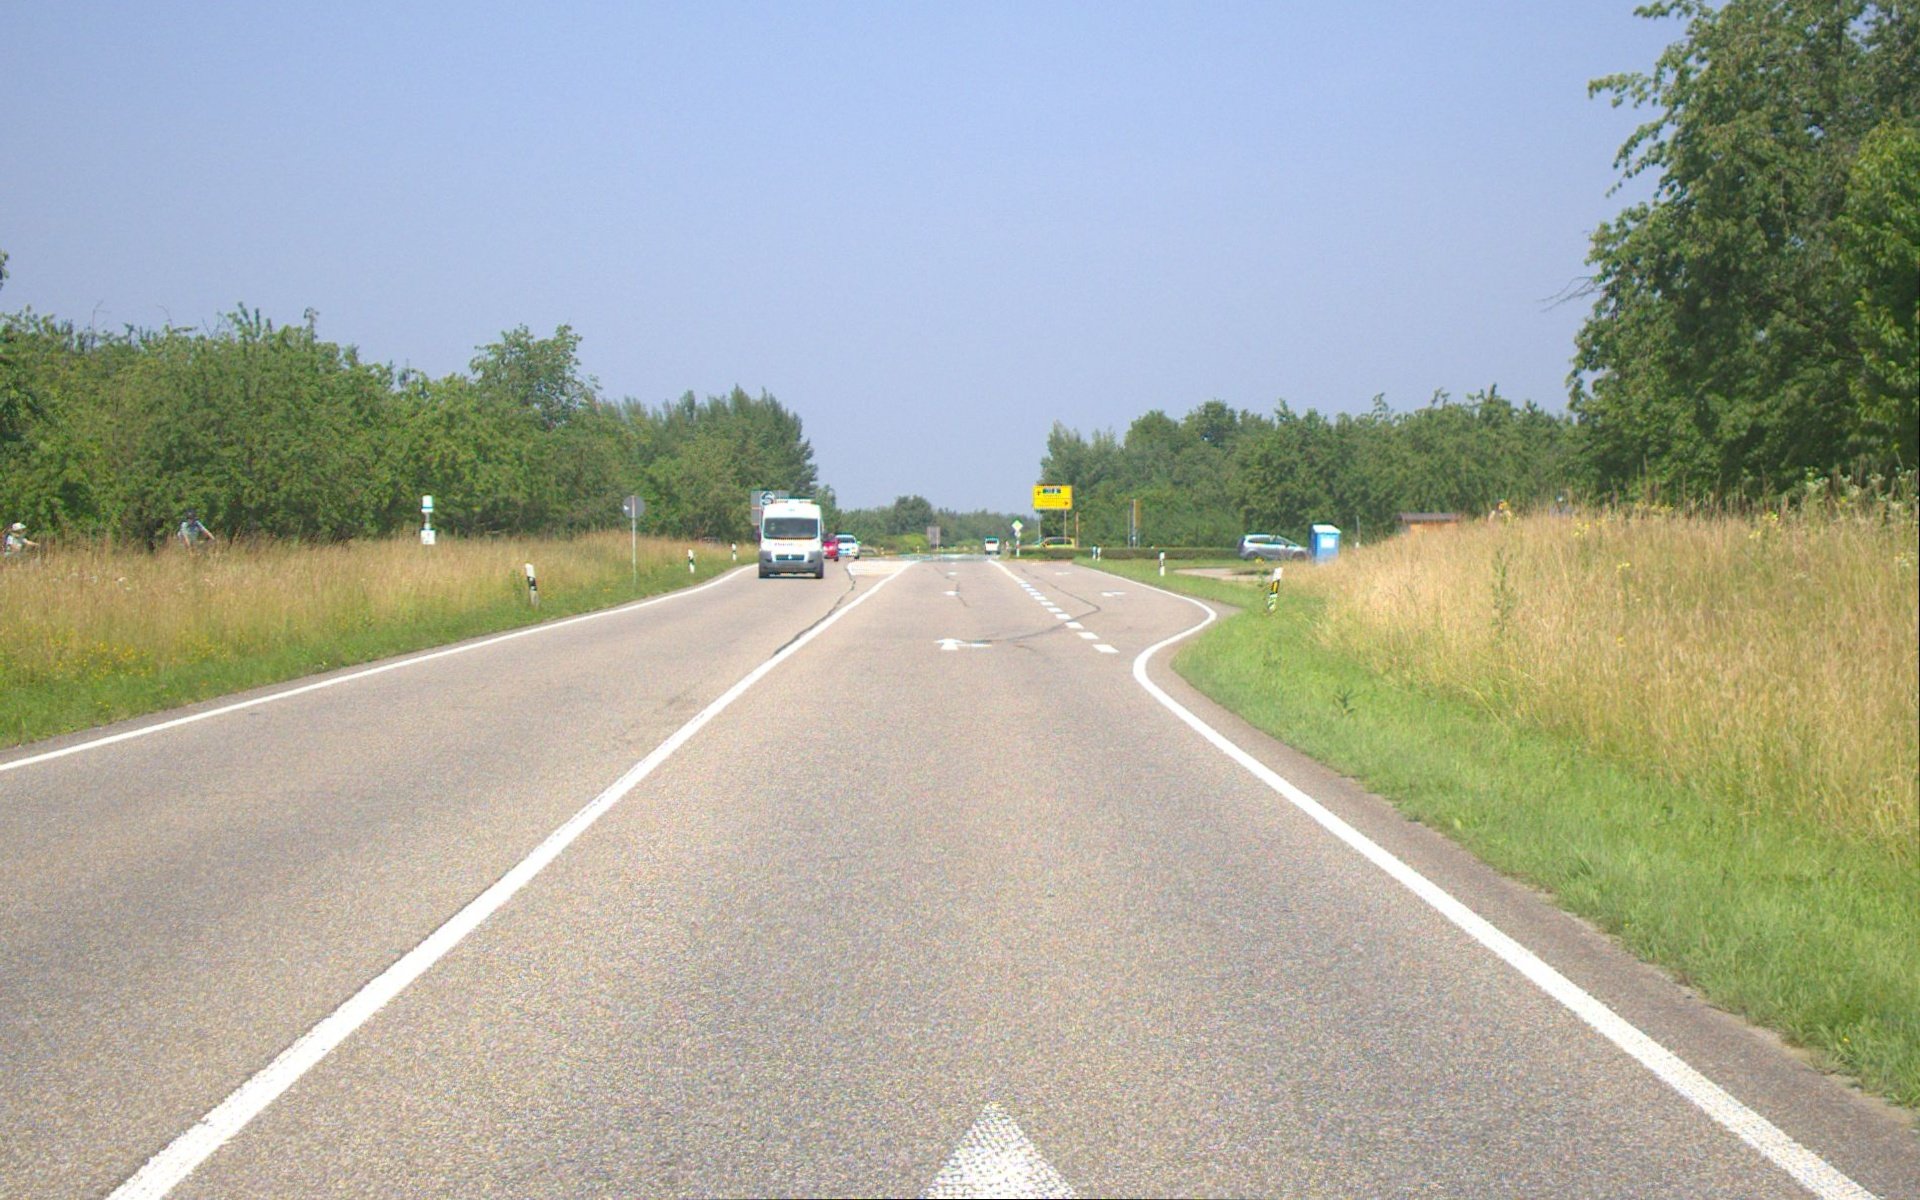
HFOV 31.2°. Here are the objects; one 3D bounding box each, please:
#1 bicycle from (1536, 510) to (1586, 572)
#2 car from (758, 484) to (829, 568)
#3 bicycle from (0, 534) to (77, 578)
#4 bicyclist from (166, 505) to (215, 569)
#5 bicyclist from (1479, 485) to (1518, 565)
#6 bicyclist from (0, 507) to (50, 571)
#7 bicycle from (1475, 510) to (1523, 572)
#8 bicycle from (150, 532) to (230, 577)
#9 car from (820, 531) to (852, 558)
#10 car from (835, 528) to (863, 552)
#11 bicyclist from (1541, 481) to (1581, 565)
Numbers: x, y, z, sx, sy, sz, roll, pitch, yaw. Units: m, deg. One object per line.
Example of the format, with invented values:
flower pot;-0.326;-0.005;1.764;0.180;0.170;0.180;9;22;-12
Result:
bicycle;14.042;-1.378;80.332;0.749;1.413;2.221;-1;1;0
car;-5.454;-2.415;113.297;2.161;2.659;6.144;1;1;-1
bicycle;-21.349;-1.010;78.422;2.219;0.986;0.742;1;0;13
bicyclist;-17.037;-1.388;76.138;0.862;1.409;0.642;1;0;39
bicyclist;12.628;-1.753;80.594;0.749;1.860;0.869;-1;1;0
bicyclist;-21.346;-1.388;78.420;0.861;1.450;0.742;1;0;13
bicycle;12.632;-1.394;80.581;0.749;1.413;2.221;-1;1;0
bicycle;-17.053;-1.010;76.144;1.953;0.986;0.649;1;0;40
car;-6.614;-2.970;183.335;1.625;1.452;3.622;1;1;-1
car;-6.938;-3.759;214.640;1.675;1.489;4.137;1;1;-2
bicyclist;14.038;-1.802;80.334;0.749;1.923;0.828;-1;1;0
